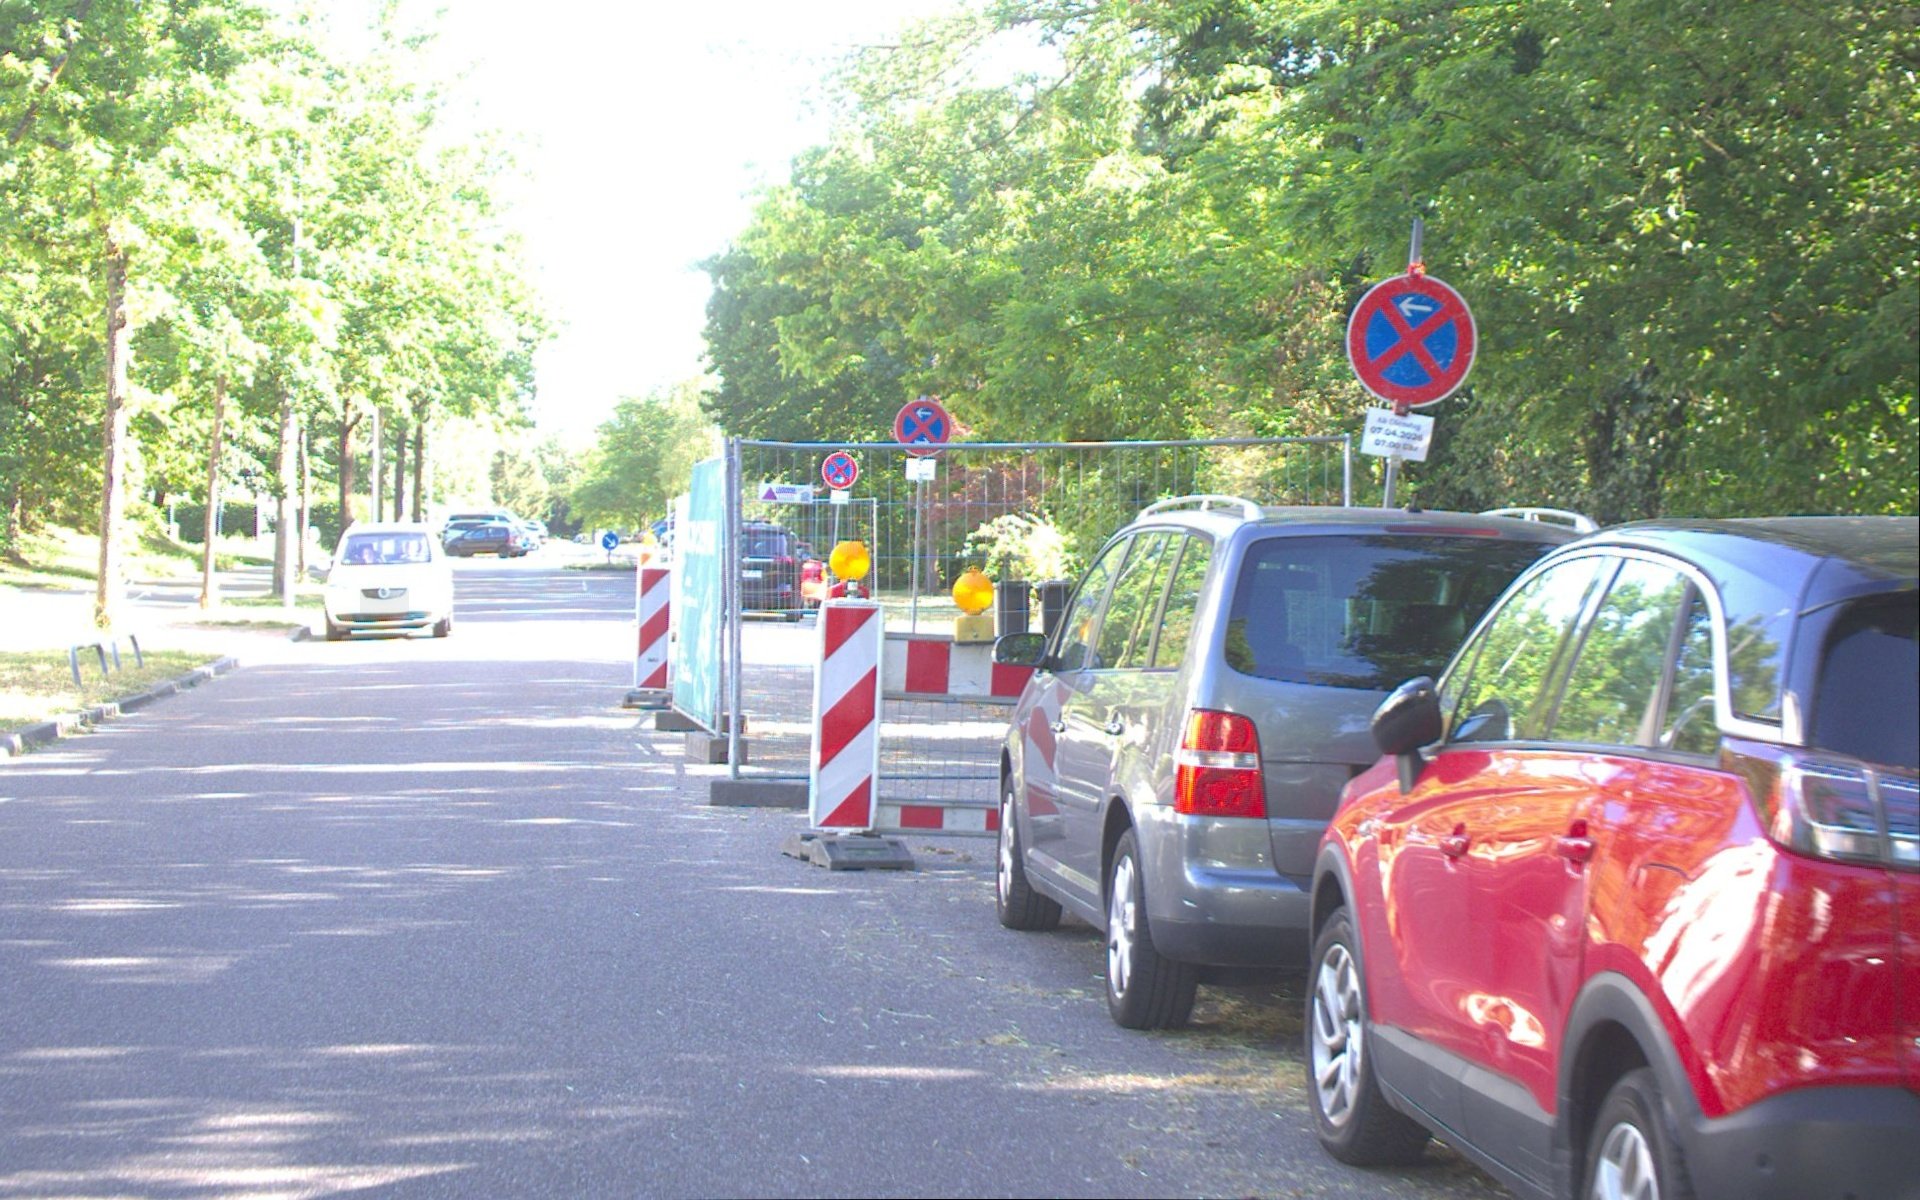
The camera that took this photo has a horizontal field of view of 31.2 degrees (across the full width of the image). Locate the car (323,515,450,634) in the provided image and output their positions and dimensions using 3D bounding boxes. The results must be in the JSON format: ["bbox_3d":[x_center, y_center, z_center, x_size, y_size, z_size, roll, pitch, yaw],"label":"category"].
[{"bbox_3d":[-8.162,-0.393,49.169,1.659,1.590,4.009,1,1,-8],"label":"car"}]

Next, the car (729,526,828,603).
[{"bbox_3d":[-3.561,-0.705,66.844,1.661,1.371,4.156,2,1,-6],"label":"car"}]

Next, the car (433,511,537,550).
[{"bbox_3d":[-21.434,-3.139,155.248,4.318,1.571,2.046,3,1,1],"label":"car"}]

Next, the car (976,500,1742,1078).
[{"bbox_3d":[1.159,0.497,11.888,1.678,1.616,4.138,2,1,-7],"label":"car"}]

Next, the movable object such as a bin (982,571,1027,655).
[{"bbox_3d":[0.472,0.134,36.437,0.413,0.867,0.484,-1,1,-5],"label":"movable object such as a bin"}]

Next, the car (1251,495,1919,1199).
[{"bbox_3d":[1.795,0.608,7.091,1.678,1.568,4.067,2,1,-5],"label":"car"}]

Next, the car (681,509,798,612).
[{"bbox_3d":[-3.809,-0.710,60.019,1.810,1.645,4.421,3,1,-2],"label":"car"}]

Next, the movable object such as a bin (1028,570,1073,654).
[{"bbox_3d":[0.956,0.125,36.534,0.413,0.867,0.484,-1,1,-5],"label":"movable object such as a bin"}]

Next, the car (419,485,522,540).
[{"bbox_3d":[-25.669,-4.568,180.200,5.198,2.612,2.294,2,1,-10],"label":"car"}]

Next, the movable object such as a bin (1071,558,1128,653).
[{"bbox_3d":[1.478,0.053,36.513,0.518,0.996,0.608,-1,1,-5],"label":"movable object such as a bin"}]
